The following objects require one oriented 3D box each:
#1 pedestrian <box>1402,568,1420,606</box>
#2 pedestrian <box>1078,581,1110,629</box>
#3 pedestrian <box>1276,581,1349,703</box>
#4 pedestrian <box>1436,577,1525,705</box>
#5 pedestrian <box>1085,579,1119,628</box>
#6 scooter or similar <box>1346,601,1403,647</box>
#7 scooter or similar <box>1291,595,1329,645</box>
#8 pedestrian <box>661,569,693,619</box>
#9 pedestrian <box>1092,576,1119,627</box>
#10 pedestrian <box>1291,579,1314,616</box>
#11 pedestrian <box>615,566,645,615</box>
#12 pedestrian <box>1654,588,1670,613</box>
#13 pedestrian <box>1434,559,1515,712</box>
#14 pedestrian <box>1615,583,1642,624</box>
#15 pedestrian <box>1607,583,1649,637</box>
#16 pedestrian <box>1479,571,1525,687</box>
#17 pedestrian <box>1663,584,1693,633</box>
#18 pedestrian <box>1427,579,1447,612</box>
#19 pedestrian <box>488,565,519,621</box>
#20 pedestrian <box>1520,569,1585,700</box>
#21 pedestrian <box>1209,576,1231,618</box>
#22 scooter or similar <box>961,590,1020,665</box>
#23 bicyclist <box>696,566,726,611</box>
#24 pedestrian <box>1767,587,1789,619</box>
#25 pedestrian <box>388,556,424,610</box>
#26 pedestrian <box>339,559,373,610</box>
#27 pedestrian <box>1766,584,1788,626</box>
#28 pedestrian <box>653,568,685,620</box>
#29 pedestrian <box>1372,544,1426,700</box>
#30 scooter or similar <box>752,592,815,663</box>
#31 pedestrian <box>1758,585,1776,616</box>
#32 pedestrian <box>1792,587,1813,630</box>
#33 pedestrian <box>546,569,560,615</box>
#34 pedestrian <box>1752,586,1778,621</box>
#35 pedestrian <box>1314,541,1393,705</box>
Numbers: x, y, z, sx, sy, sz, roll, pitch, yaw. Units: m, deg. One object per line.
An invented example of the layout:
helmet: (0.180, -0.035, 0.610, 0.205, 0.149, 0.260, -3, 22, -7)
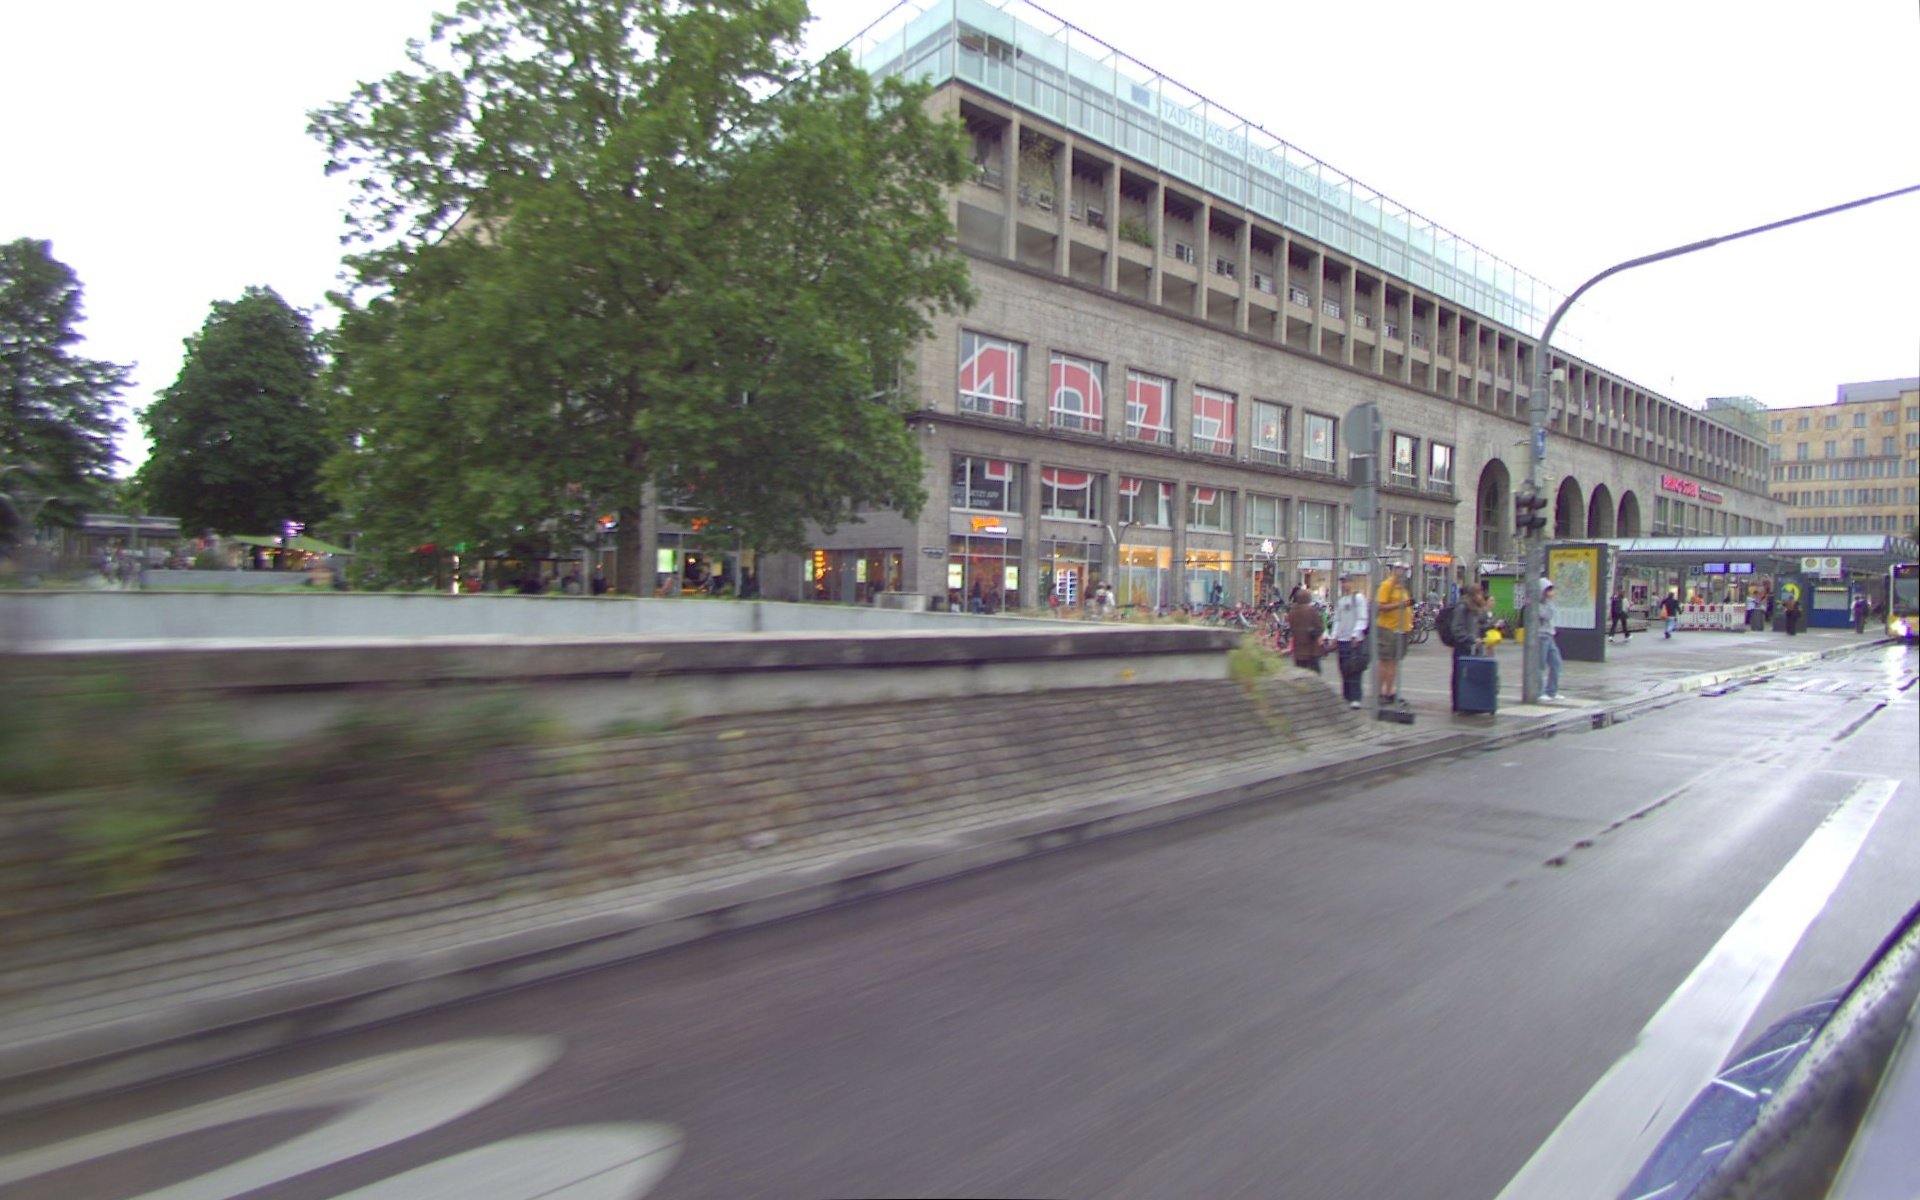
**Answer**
pedestrian: (23.175, -0.670, 51.994, 0.781, 1.953, 0.649, 1, 1, 25)
pedestrian: (4.427, 0.168, 33.463, 0.766, 1.542, 0.673, 1, 1, -25)
pedestrian: (4.682, 0.532, 13.448, 0.621, 1.574, 0.659, 0, 0, -27)
pedestrian: (7.289, 0.545, 14.181, 0.745, 1.712, 0.876, 0, 1, -41)
pedestrian: (4.975, 0.111, 35.550, 0.871, 1.695, 0.795, 0, 0, -33)
scooter or similar: (10.660, 0.619, 26.030, 1.337, 1.144, 0.439, 0, -2, -15)
scooter or similar: (9.032, 0.510, 26.126, 0.559, 1.246, 1.368, 0, 0, 3)
pedestrian: (-9.604, -0.212, 34.370, 0.761, 1.688, 0.707, 0, 0, 20)
pedestrian: (4.715, 0.033, 32.844, 0.603, 1.621, 0.648, 0, 3, -27)
pedestrian: (15.809, -0.118, 46.677, 0.763, 1.718, 0.722, 0, 0, -42)
pedestrian: (-12.206, -0.345, 37.488, 0.850, 1.785, 0.705, 1, 2, 3)
pedestrian: (46.721, 0.051, 67.321, 0.792, 1.639, 0.859, 1, 1, 39)
pedestrian: (6.584, 0.421, 12.942, 0.784, 1.861, 0.939, 1, 1, 35)
pedestrian: (30.301, 0.163, 45.856, 0.741, 1.815, 0.736, 0, 1, -26)
pedestrian: (20.982, 0.305, 31.789, 0.773, 1.662, 0.789, 0, 1, -26)
pedestrian: (8.764, 0.453, 16.389, 0.534, 1.827, 0.752, 1, 1, 21)
pedestrian: (24.179, 0.272, 34.071, 0.491, 1.639, 0.654, 0, 1, -26)
pedestrian: (26.397, -0.276, 56.036, 0.775, 1.814, 0.732, 0, 1, -41)
pedestrian: (-15.798, -0.242, 35.017, 0.820, 1.887, 0.820, 0, 0, -40)
pedestrian: (8.604, 0.476, 14.696, 0.743, 1.827, 0.701, 1, 1, 35)
pedestrian: (10.816, -0.136, 42.085, 0.696, 1.710, 0.598, 0, 1, -41)
scooter or similar: (0.555, 0.464, 17.960, 0.371, 1.275, 1.299, -1, 0, 36)
bicyclist: (-8.766, -0.405, 35.639, 0.890, 1.573, 0.652, 1, 1, -1)
pedestrian: (45.125, 0.168, 55.820, 0.885, 1.716, 0.750, 0, 0, -37)
pedestrian: (-21.113, -0.632, 38.575, 0.979, 2.039, 0.841, 0, 0, 33)
pedestrian: (-24.380, -0.614, 40.843, 0.979, 2.039, 0.841, 0, 0, 33)
pedestrian: (39.274, 0.237, 48.669, 0.792, 1.953, 0.696, 1, 1, 39)
pedestrian: (-9.663, -0.205, 33.581, 0.761, 1.688, 0.707, 0, 0, 20)
pedestrian: (6.272, 0.294, 14.453, 0.552, 2.172, 0.660, 1, 1, 35)
scooter or similar: (-3.481, 0.525, 20.041, 0.408, 1.349, 1.299, -1, 0, 36)
pedestrian: (48.781, 0.021, 61.184, 0.579, 1.898, 0.598, 0, 0, -7)
pedestrian: (32.755, 0.322, 39.342, 0.592, 1.639, 0.504, 0, 0, 39)
pedestrian: (-14.954, -0.297, 37.169, 0.450, 1.659, 0.443, 0, 0, -18)
pedestrian: (42.717, 0.157, 53.694, 0.779, 1.827, 0.986, 1, 1, 21)
pedestrian: (5.395, 0.302, 13.890, 0.707, 2.172, 0.711, 0, 1, -30)
